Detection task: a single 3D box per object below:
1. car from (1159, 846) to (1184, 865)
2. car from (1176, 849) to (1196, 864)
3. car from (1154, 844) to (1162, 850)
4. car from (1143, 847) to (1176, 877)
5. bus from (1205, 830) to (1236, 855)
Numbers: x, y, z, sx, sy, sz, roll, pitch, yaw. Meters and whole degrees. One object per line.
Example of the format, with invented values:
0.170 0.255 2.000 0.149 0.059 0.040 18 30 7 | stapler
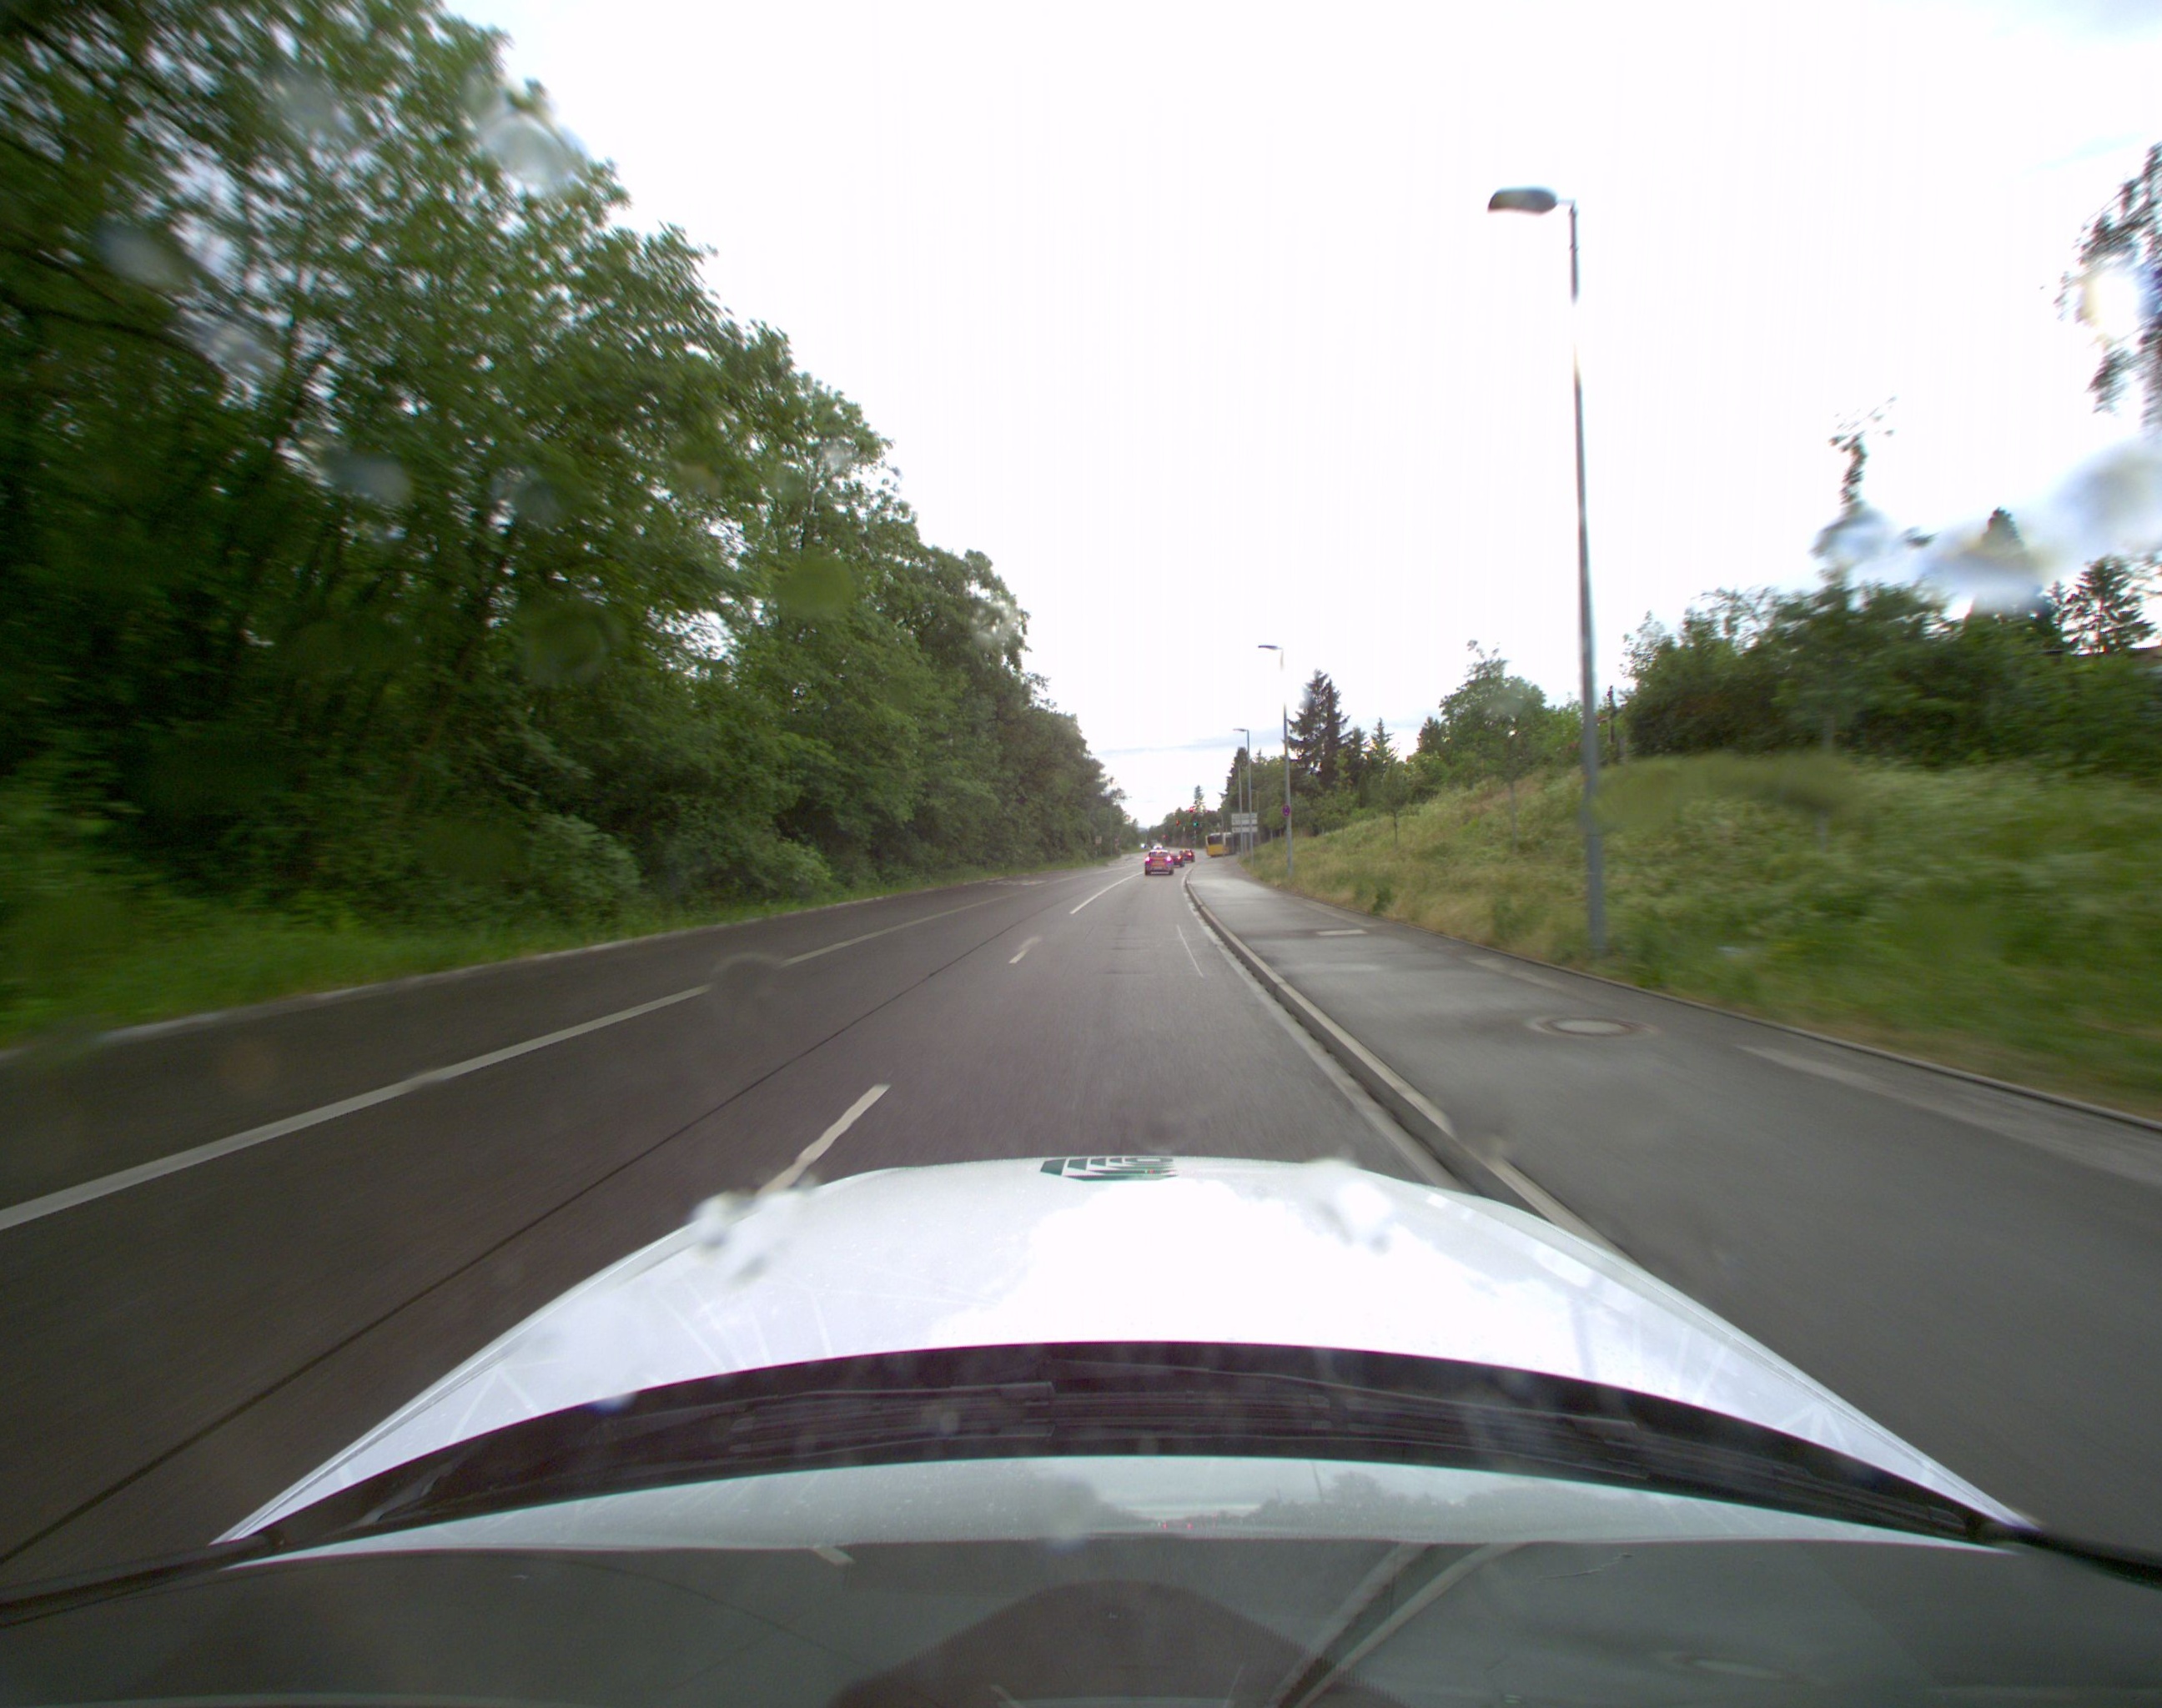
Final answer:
7.791 0.125 70.154 1.916 1.486 3.809 -2 1 9 | car
11.213 0.235 87.183 1.983 1.552 4.007 -1 0 6 | car
19.781 -1.877 209.250 1.985 1.420 4.003 -1 0 2 | car
5.044 0.457 51.898 1.983 1.689 4.008 -2 1 6 | car
18.598 -1.462 108.112 2.794 3.142 9.223 -1 0 18 | bus
